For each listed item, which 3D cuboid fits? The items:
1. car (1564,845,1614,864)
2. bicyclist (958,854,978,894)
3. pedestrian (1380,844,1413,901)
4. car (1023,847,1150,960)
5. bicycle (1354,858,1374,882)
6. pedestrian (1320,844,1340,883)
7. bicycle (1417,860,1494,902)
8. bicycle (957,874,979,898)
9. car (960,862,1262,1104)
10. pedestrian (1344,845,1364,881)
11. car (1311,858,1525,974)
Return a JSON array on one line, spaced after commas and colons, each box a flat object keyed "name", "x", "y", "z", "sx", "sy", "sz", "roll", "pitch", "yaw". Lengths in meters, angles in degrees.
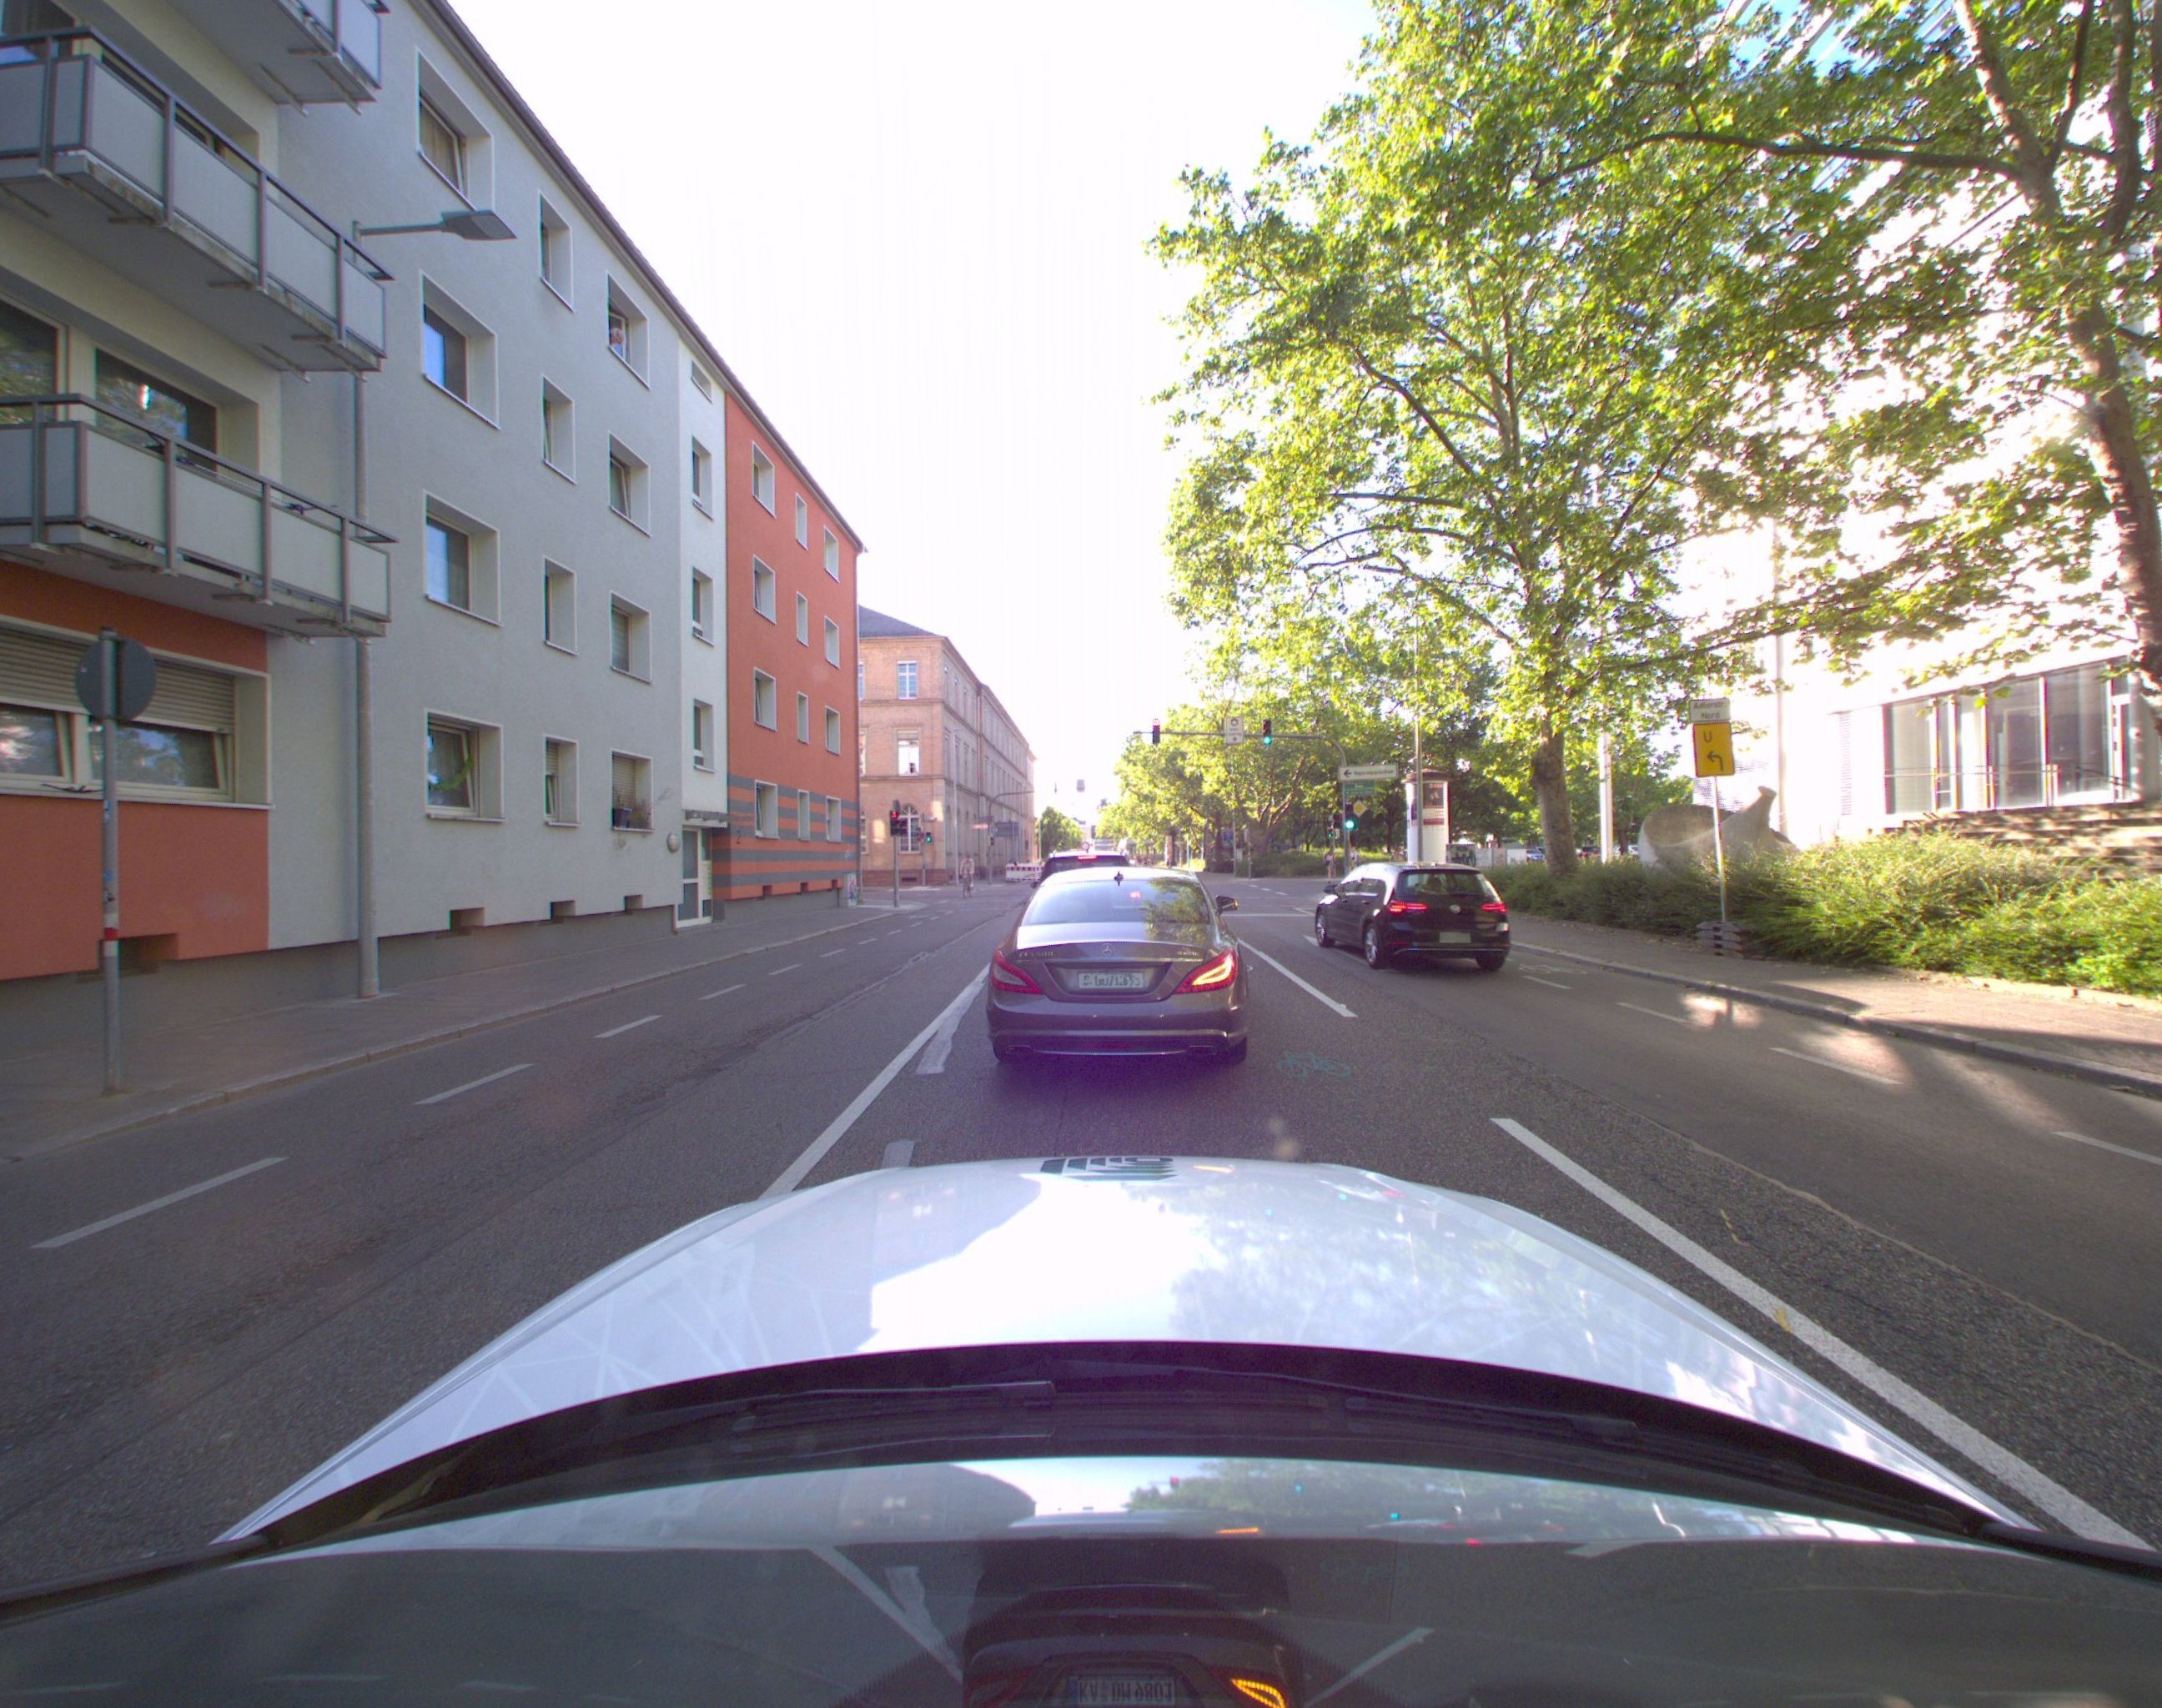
[{"name": "car", "x": 39.742, "y": 0.057, "z": 63.822, "sx": 1.624, "sy": 1.483, "sz": 3.796, "roll": 0, "pitch": -1, "yaw": 1}, {"name": "bicyclist", "x": -4.421, "y": 0.775, "z": 31.979, "sx": 0.646, "sy": 1.558, "sz": 0.807, "roll": 0, "pitch": -1, "yaw": 1}, {"name": "pedestrian", "x": 9.258, "y": 0.542, "z": 23.922, "sx": 0.791, "sy": 1.630, "sz": 0.912, "roll": -3, "pitch": -2, "yaw": 19}, {"name": "car", "x": 0.198, "y": 0.740, "z": 13.861, "sx": 1.801, "sy": 1.612, "sz": 4.003, "roll": -1, "pitch": -1, "yaw": 3}, {"name": "bicycle", "x": 13.392, "y": 0.743, "z": 38.559, "sx": 0.521, "sy": 1.100, "sz": 1.744, "roll": 0, "pitch": -1, "yaw": 7}, {"name": "pedestrian", "x": 11.828, "y": 0.453, "z": 38.701, "sx": 0.728, "sy": 1.808, "sz": 0.910, "roll": -2, "pitch": -2, "yaw": 6}, {"name": "bicycle", "x": 10.799, "y": 0.771, "z": 23.501, "sx": 1.969, "sy": 1.190, "sz": 0.528, "roll": 0, "pitch": -1, "yaw": 0}, {"name": "bicycle", "x": -4.418, "y": 1.256, "z": 32.040, "sx": 0.546, "sy": 0.891, "sz": 1.868, "roll": 0, "pitch": -1, "yaw": 2}, {"name": "car", "x": 0.463, "y": 0.795, "z": 7.206, "sx": 1.833, "sy": 1.429, "sz": 4.527, "roll": 0, "pitch": 0, "yaw": 8}, {"name": "pedestrian", "x": 12.970, "y": 0.424, "z": 38.677, "sx": 0.680, "sy": 1.697, "sz": 0.972, "roll": 0, "pitch": -1, "yaw": 5}, {"name": "car", "x": 4.758, "y": 0.791, "z": 12.123, "sx": 1.683, "sy": 1.440, "sz": 3.903, "roll": 0, "pitch": 0, "yaw": 2}]
